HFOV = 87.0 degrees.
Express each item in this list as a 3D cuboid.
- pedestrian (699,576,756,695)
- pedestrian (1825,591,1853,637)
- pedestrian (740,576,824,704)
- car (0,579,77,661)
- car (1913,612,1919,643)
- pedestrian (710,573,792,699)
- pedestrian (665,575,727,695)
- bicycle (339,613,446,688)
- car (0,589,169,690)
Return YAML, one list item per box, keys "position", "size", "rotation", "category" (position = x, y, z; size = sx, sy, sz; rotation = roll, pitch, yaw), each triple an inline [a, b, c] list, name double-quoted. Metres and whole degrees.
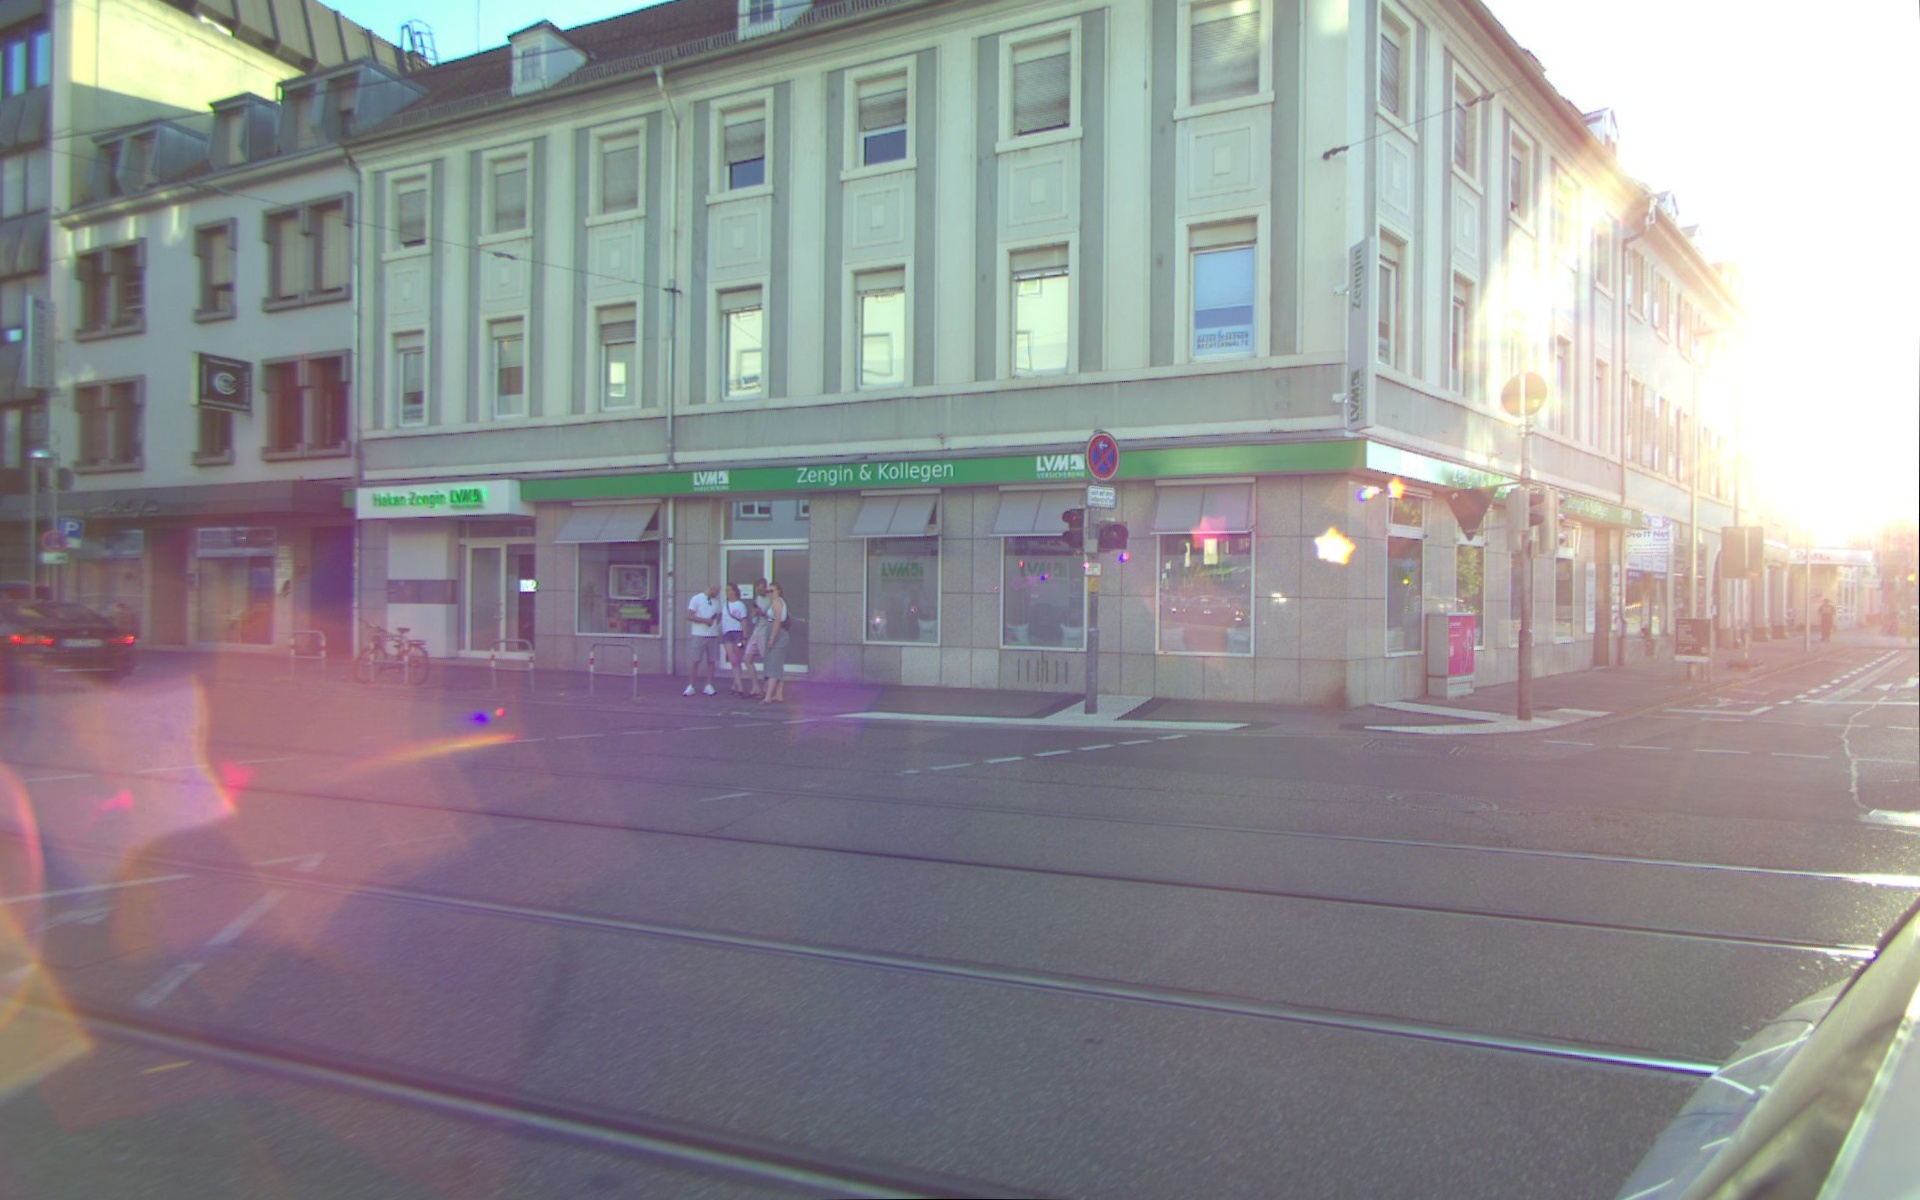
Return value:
- position: [-3.612, 0.544, 15.754]
  size: [0.671, 1.794, 0.628]
  rotation: [-1, -1, 6]
  category: "pedestrian"
- position: [35.778, 0.558, 41.185]
  size: [0.667, 1.806, 0.714]
  rotation: [2, 2, 30]
  category: "pedestrian"
- position: [-2.590, 0.556, 14.725]
  size: [0.774, 1.794, 0.895]
  rotation: [-2, -1, 35]
  category: "pedestrian"
- position: [-21.975, 0.423, 22.382]
  size: [4.458, 1.724, 1.984]
  rotation: [0, 0, 23]
  category: "car"
- position: [54.368, 1.523, 56.163]
  size: [1.994, 1.567, 4.437]
  rotation: [-2, 0, 45]
  category: "car"
- position: [-3.156, 0.524, 15.296]
  size: [0.774, 1.835, 0.895]
  rotation: [-2, -1, 35]
  category: "pedestrian"
- position: [-4.087, 0.526, 15.694]
  size: [0.675, 1.794, 0.764]
  rotation: [-1, 0, 6]
  category: "pedestrian"
- position: [-9.645, 0.839, 17.177]
  size: [1.855, 1.199, 0.690]
  rotation: [-1, 0, 28]
  category: "bicycle"
- position: [-15.149, 0.659, 16.178]
  size: [4.456, 1.439, 1.984]
  rotation: [-1, -4, 22]
  category: "car"
